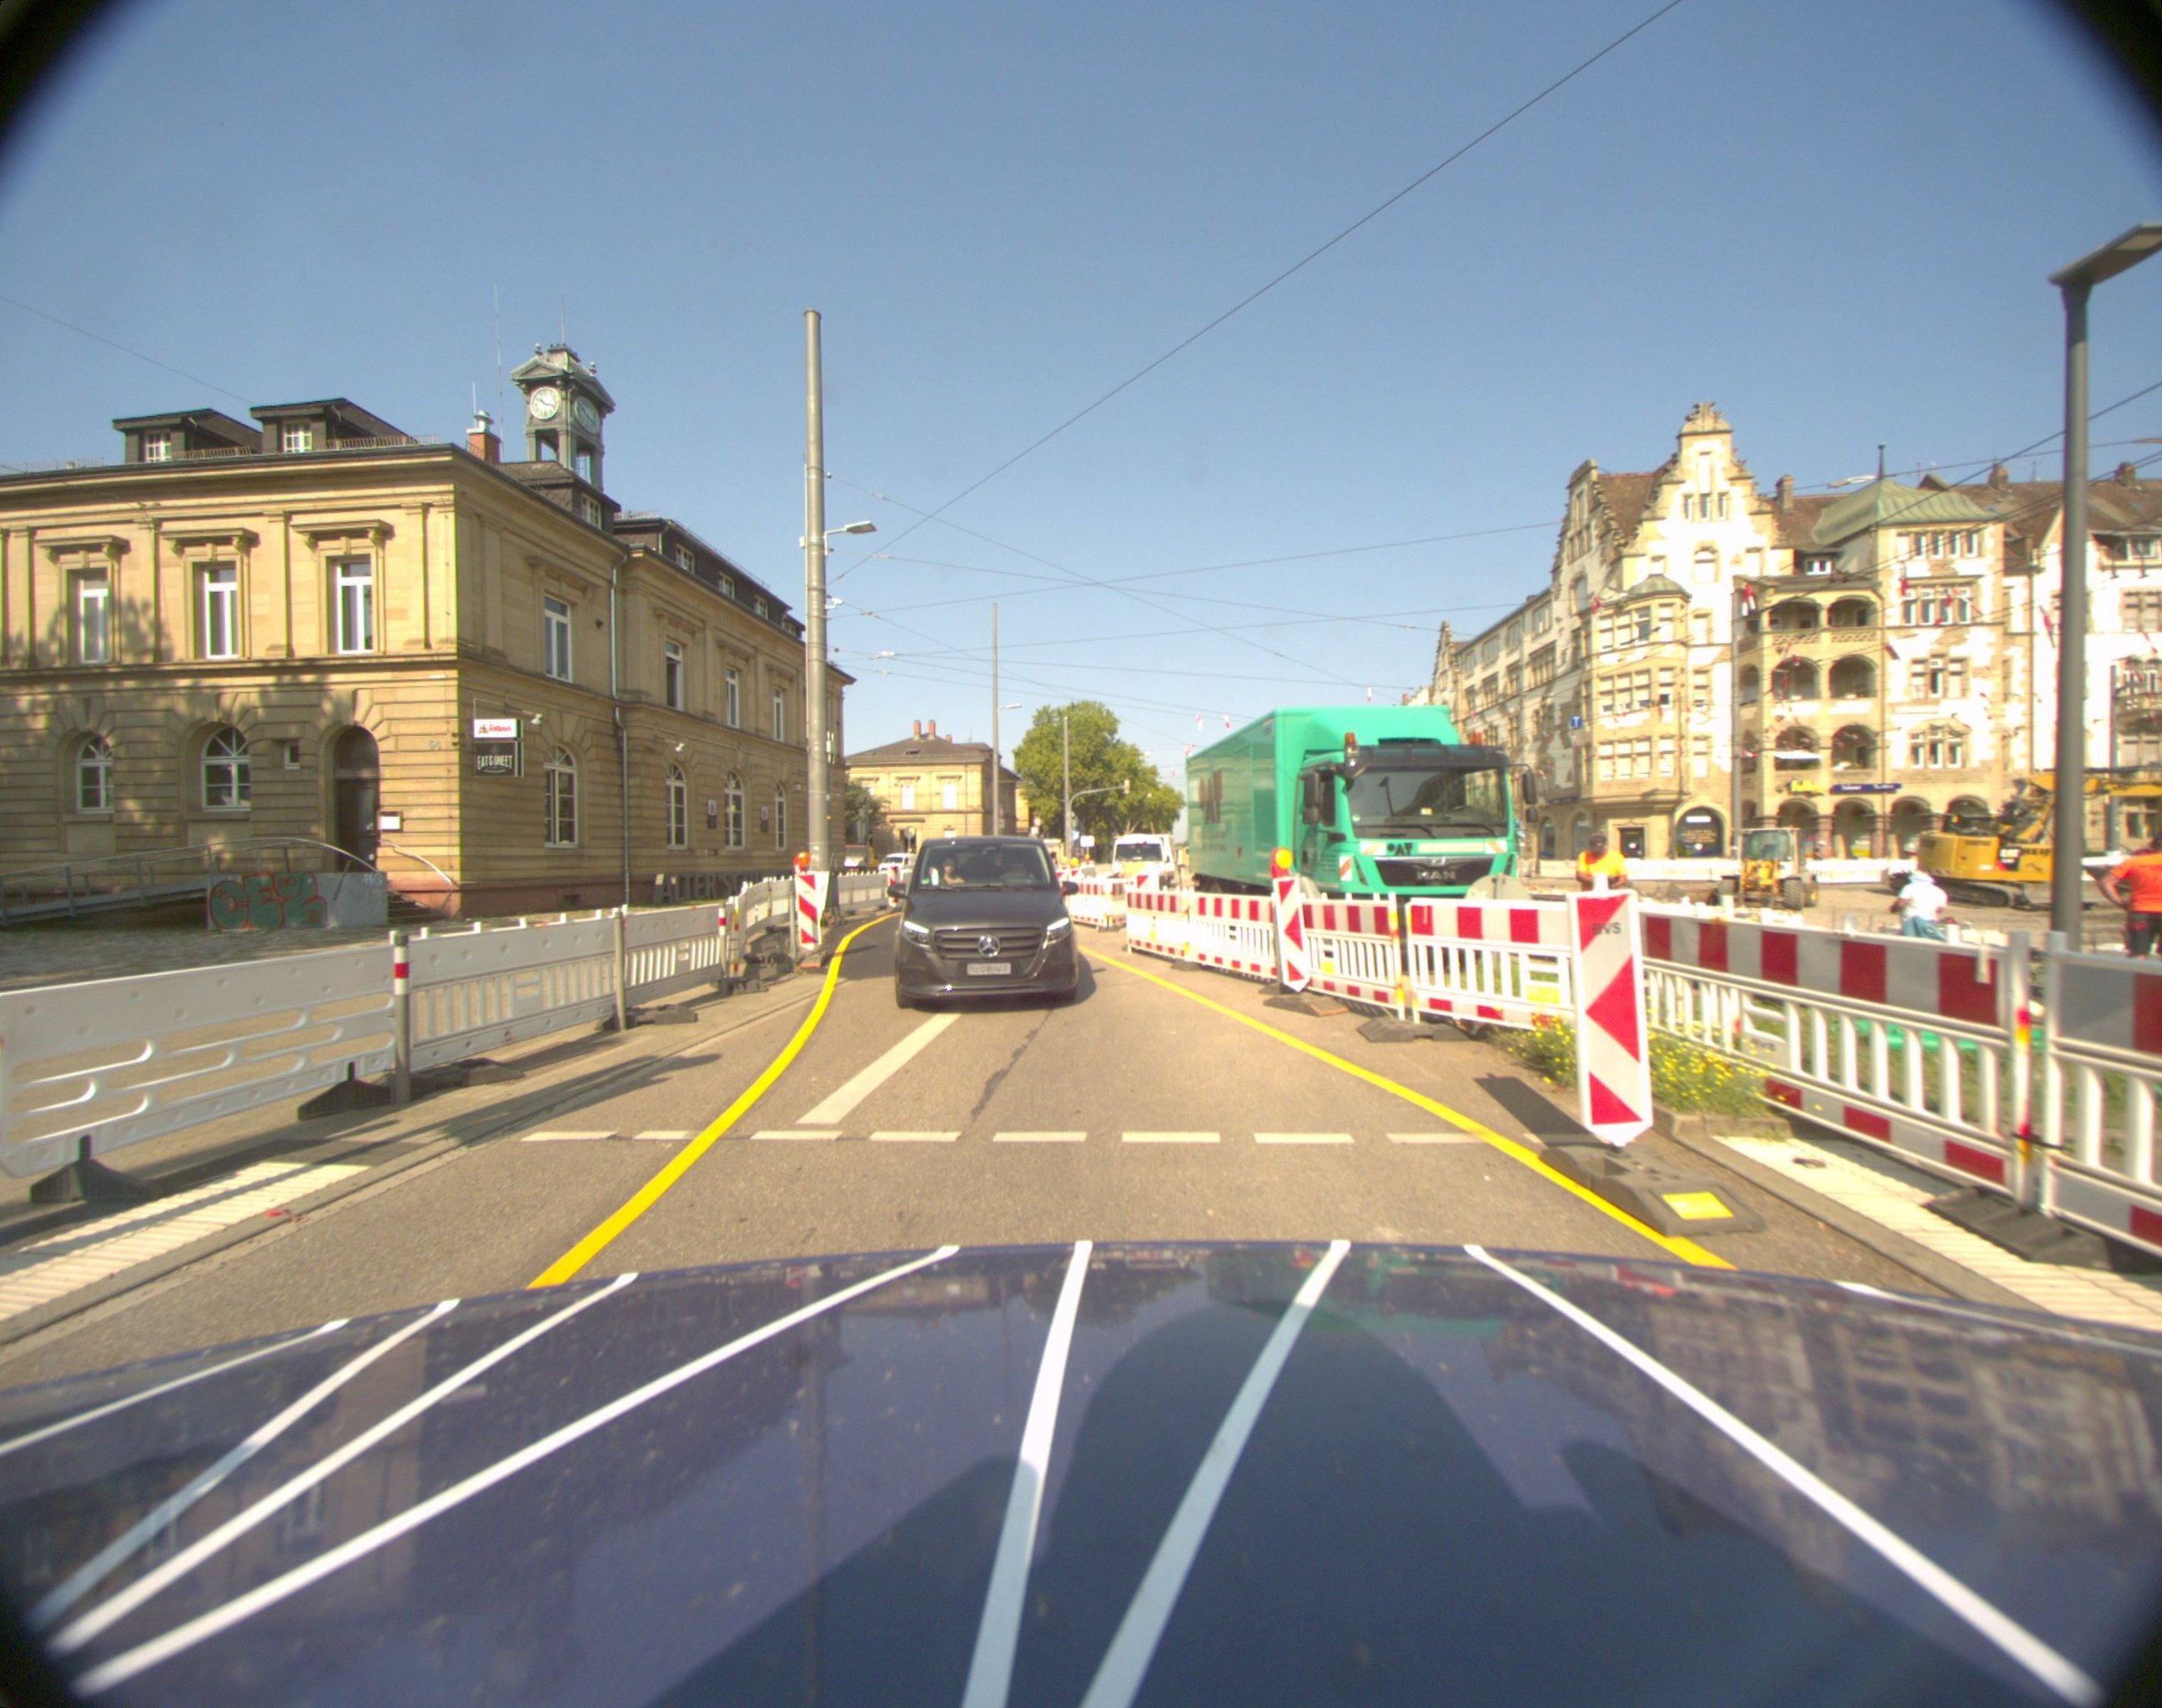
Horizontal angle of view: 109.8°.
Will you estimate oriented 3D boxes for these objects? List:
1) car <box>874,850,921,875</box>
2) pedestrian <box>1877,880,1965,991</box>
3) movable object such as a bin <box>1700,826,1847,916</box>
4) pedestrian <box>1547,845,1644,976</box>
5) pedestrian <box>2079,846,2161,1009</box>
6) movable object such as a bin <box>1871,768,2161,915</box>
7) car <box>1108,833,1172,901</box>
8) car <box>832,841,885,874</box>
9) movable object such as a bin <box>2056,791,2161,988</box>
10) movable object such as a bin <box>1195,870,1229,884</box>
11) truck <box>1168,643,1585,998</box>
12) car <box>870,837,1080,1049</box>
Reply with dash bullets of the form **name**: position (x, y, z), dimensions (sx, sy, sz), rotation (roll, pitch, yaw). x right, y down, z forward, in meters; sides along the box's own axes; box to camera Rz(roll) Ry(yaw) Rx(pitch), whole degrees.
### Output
- **car**: position (-13.449, 0.581, 56.028), dimensions (1.907, 1.773, 4.227), rotation (1, 1, 8)
- **pedestrian**: position (12.382, 1.177, 11.221), dimensions (0.700, 1.557, 0.558), rotation (0, 0, 24)
- **movable object such as a bin**: position (23.734, 0.515, 26.012), dimensions (4.824, 2.818, 2.443), rotation (-1, 1, -31)
- **pedestrian**: position (6.336, 0.670, 9.391), dimensions (0.762, 1.557, 0.691), rotation (0, 0, 5)
- **pedestrian**: position (10.508, 0.700, 7.407), dimensions (0.557, 1.557, 0.817), rotation (0, 0, -19)
- **movable object such as a bin**: position (32.073, -0.416, 24.700), dimensions (7.365, 4.322, 4.975), rotation (0, 2, 19)
- **car**: position (2.425, 0.444, 30.345), dimensions (2.212, 2.410, 7.202), rotation (0, 0, 6)
- **car**: position (-16.905, 0.256, 58.019), dimensions (2.263, 2.408, 5.489), rotation (0, 0, 2)
- **movable object such as a bin**: position (17.598, 0.532, 8.245), dimensions (3.621, 2.941, 8.479), rotation (-2, 1, 6)
- **movable object such as a bin**: position (7.127, 1.249, 41.378), dimensions (1.718, 0.709, 0.719), rotation (0, 1, 39)
- **truck**: position (3.837, -0.360, 12.688), dimensions (2.801, 3.889, 8.414), rotation (-2, 0, -6)
- **car**: position (-1.201, 0.790, 9.064), dimensions (1.854, 1.875, 4.176), rotation (-2, 1, -7)
